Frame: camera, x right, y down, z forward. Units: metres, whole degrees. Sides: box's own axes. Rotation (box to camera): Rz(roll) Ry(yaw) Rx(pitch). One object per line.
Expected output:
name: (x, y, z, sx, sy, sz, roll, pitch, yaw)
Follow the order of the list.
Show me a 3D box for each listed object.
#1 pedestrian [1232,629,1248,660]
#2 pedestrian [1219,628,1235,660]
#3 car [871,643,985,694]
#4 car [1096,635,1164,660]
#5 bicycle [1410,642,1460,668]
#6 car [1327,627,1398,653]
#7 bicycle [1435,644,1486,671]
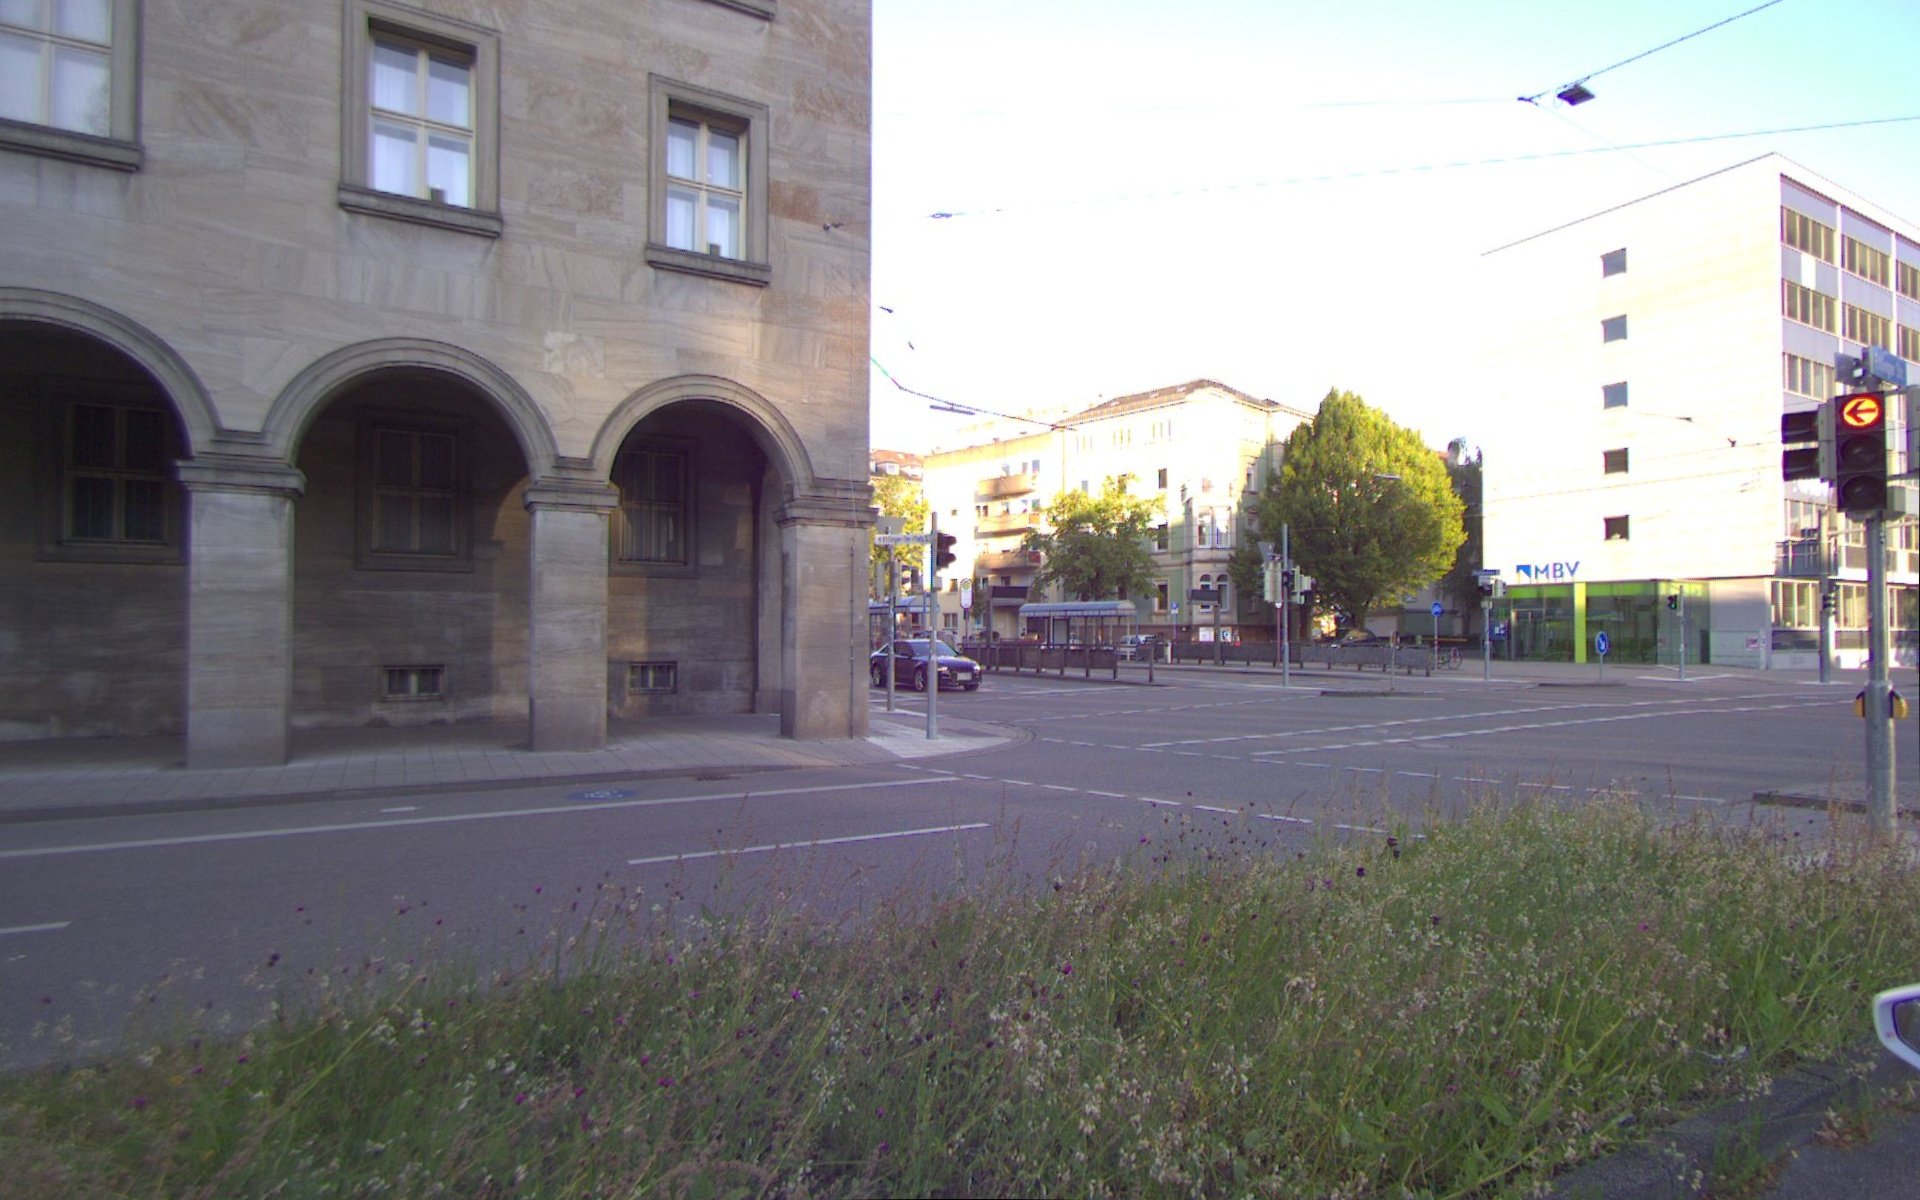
pedestrian: (16.397, 2.602, 58.783, 0.718, 1.813, 0.634, 2, -2, -43)
pedestrian: (15.564, 2.567, 58.496, 0.718, 1.813, 0.634, 2, -2, -44)
car: (-1.024, 1.968, 29.683, 1.791, 1.344, 4.120, 1, -2, -27)
car: (10.006, 2.773, 59.238, 3.545, 1.390, 1.830, -2, -3, 45)
bicycle: (21.067, 2.430, 44.514, 2.183, 1.127, 0.834, 1, -2, -26)
car: (21.856, 2.173, 54.519, 3.553, 1.390, 1.826, 1, -2, -32)
bicycle: (21.661, 2.486, 43.439, 2.183, 1.127, 0.834, 1, -2, -26)
